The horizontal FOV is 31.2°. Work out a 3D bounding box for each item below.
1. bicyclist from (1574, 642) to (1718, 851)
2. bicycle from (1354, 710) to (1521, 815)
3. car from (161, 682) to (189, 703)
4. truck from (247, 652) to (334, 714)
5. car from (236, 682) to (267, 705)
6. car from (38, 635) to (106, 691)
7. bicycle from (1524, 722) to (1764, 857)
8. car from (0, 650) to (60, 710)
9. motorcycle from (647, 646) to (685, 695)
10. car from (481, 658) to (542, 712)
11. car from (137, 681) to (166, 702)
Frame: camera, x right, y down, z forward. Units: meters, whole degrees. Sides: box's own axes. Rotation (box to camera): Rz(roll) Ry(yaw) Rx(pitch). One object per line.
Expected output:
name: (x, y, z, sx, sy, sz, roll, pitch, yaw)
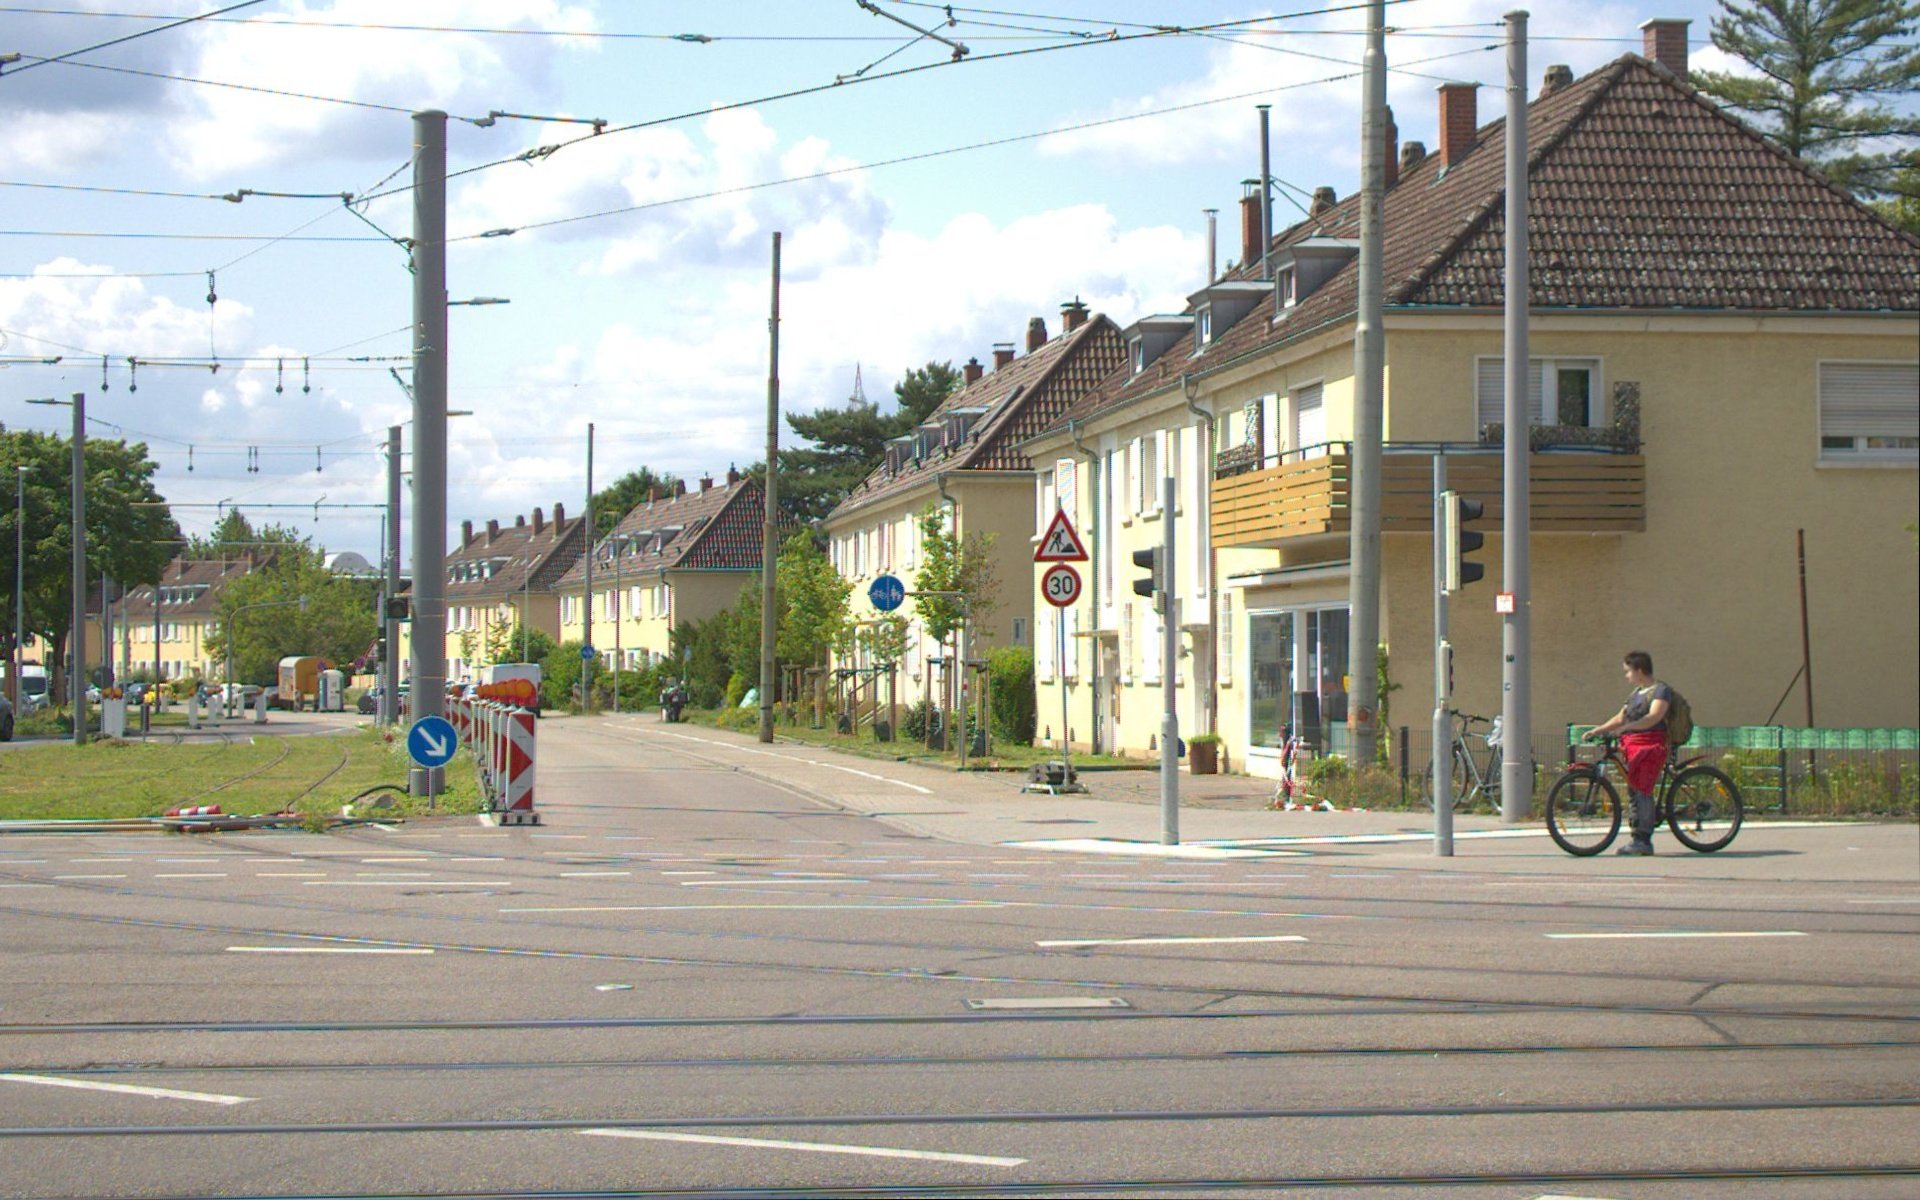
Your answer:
bicyclist: (5.898, 1.247, 29.577, 0.957, 1.769, 0.719, 1, -2, -28)
bicycle: (5.213, 1.760, 37.667, 0.593, 1.093, 2.277, 1, -2, -27)
car: (-52.522, 6.184, 229.957, 1.257, 1.422, 2.665, 0, -1, -27)
truck: (-38.629, 4.795, 198.230, 2.640, 3.482, 9.438, 0, -1, -25)
car: (-43.344, 5.709, 210.411, 1.257, 1.422, 2.665, 0, -1, -26)
car: (-38.342, 2.713, 148.388, 2.406, 2.362, 4.880, 0, -1, -19)
bicycle: (5.889, 1.612, 29.563, 2.027, 1.098, 0.715, 1, -2, -29)
car: (-37.128, 3.182, 136.235, 2.406, 2.330, 4.880, 0, -1, -19)
motorcycle: (-9.734, 2.335, 113.742, 1.066, 1.630, 2.084, 0, -1, -10)
car: (-18.082, 3.428, 138.583, 2.065, 2.142, 4.879, 0, -1, -12)
car: (-54.890, 6.186, 233.400, 1.257, 1.422, 2.665, 0, -1, -29)
